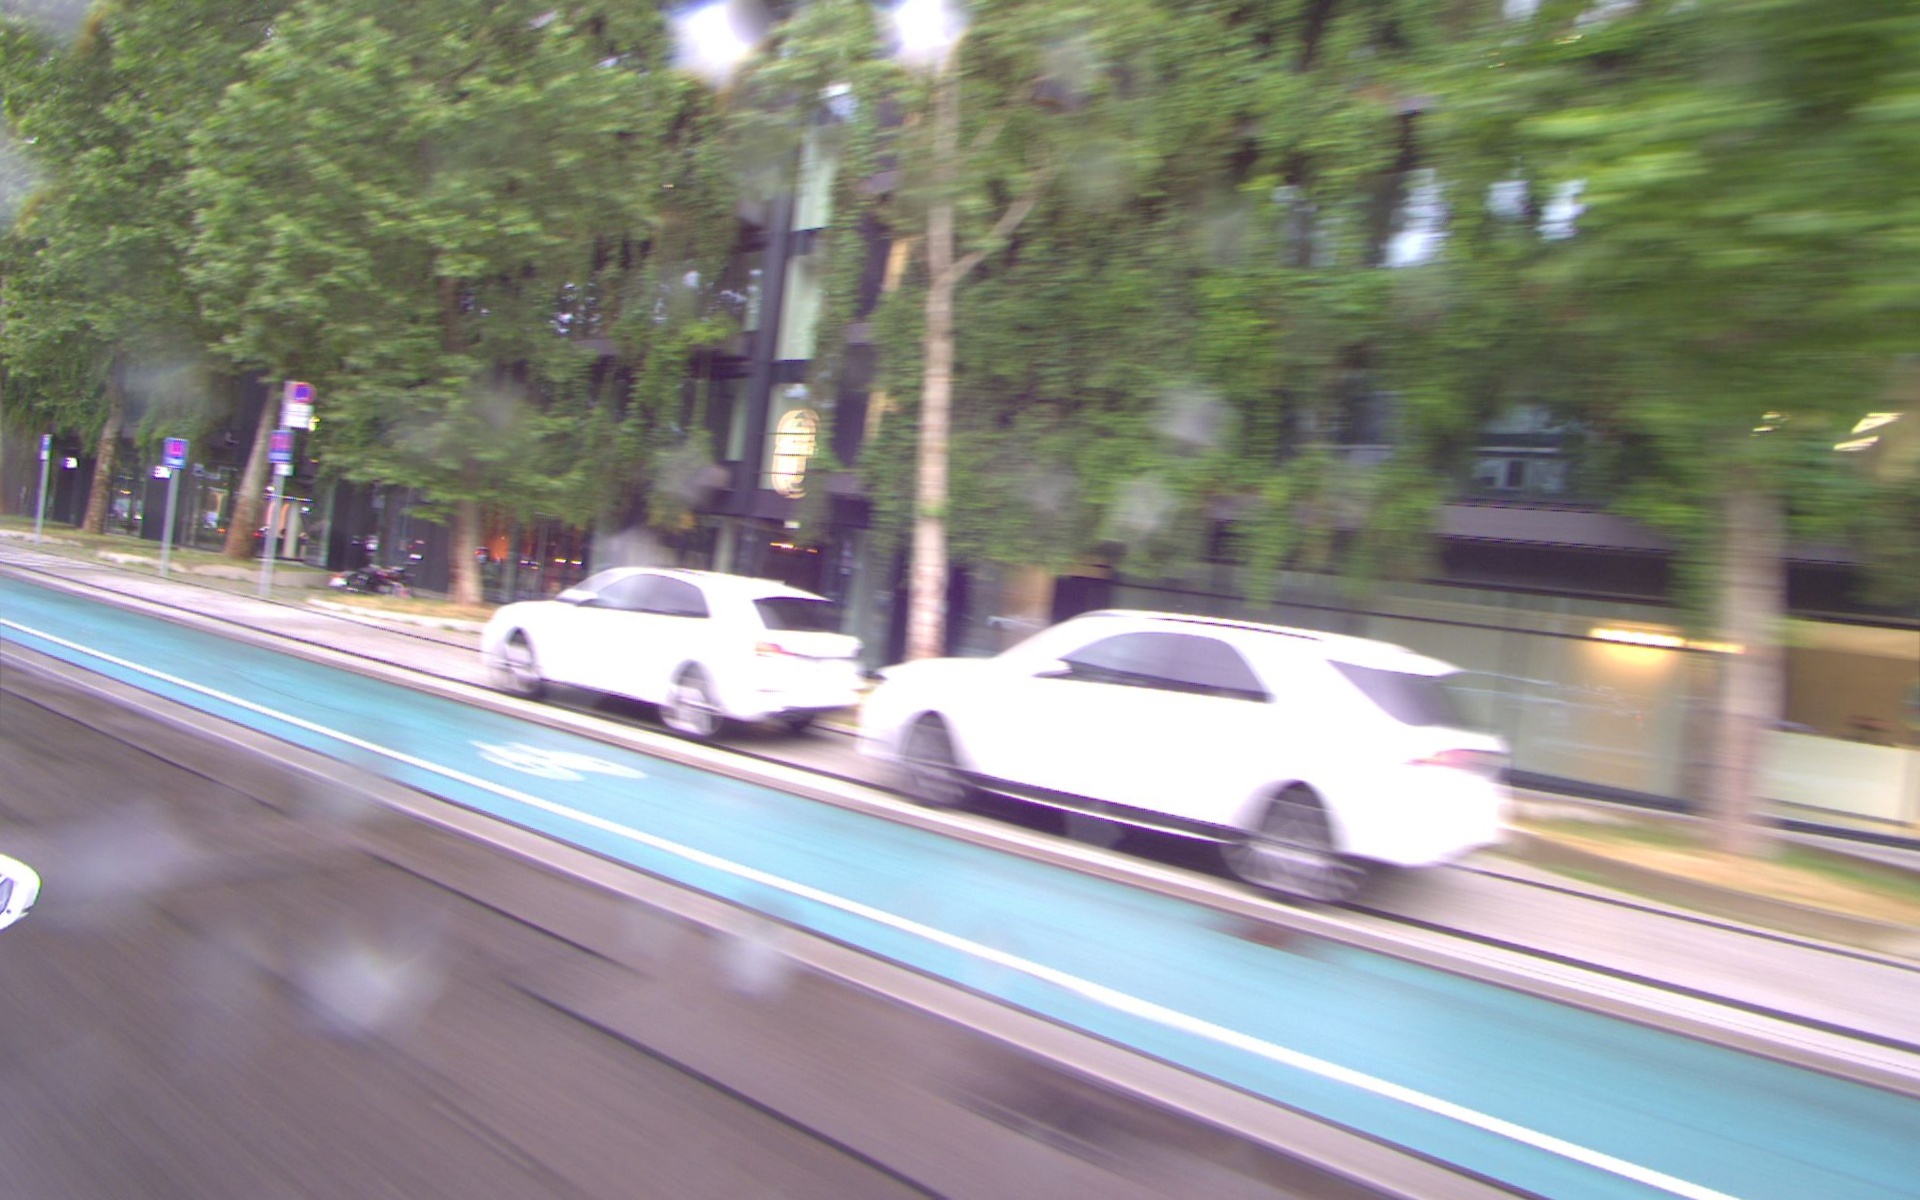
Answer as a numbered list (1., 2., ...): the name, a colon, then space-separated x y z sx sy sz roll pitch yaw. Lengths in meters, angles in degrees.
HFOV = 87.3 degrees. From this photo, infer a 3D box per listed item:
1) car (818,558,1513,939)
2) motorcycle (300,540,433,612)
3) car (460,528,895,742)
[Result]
1. car: 1.435 0.891 8.117 5.011 1.861 1.844 7 1 34
2. motorcycle: -13.729 -0.525 23.359 1.035 1.284 2.313 8 -2 30
3. car: -3.266 0.322 11.310 4.706 1.652 1.847 7 -1 31
